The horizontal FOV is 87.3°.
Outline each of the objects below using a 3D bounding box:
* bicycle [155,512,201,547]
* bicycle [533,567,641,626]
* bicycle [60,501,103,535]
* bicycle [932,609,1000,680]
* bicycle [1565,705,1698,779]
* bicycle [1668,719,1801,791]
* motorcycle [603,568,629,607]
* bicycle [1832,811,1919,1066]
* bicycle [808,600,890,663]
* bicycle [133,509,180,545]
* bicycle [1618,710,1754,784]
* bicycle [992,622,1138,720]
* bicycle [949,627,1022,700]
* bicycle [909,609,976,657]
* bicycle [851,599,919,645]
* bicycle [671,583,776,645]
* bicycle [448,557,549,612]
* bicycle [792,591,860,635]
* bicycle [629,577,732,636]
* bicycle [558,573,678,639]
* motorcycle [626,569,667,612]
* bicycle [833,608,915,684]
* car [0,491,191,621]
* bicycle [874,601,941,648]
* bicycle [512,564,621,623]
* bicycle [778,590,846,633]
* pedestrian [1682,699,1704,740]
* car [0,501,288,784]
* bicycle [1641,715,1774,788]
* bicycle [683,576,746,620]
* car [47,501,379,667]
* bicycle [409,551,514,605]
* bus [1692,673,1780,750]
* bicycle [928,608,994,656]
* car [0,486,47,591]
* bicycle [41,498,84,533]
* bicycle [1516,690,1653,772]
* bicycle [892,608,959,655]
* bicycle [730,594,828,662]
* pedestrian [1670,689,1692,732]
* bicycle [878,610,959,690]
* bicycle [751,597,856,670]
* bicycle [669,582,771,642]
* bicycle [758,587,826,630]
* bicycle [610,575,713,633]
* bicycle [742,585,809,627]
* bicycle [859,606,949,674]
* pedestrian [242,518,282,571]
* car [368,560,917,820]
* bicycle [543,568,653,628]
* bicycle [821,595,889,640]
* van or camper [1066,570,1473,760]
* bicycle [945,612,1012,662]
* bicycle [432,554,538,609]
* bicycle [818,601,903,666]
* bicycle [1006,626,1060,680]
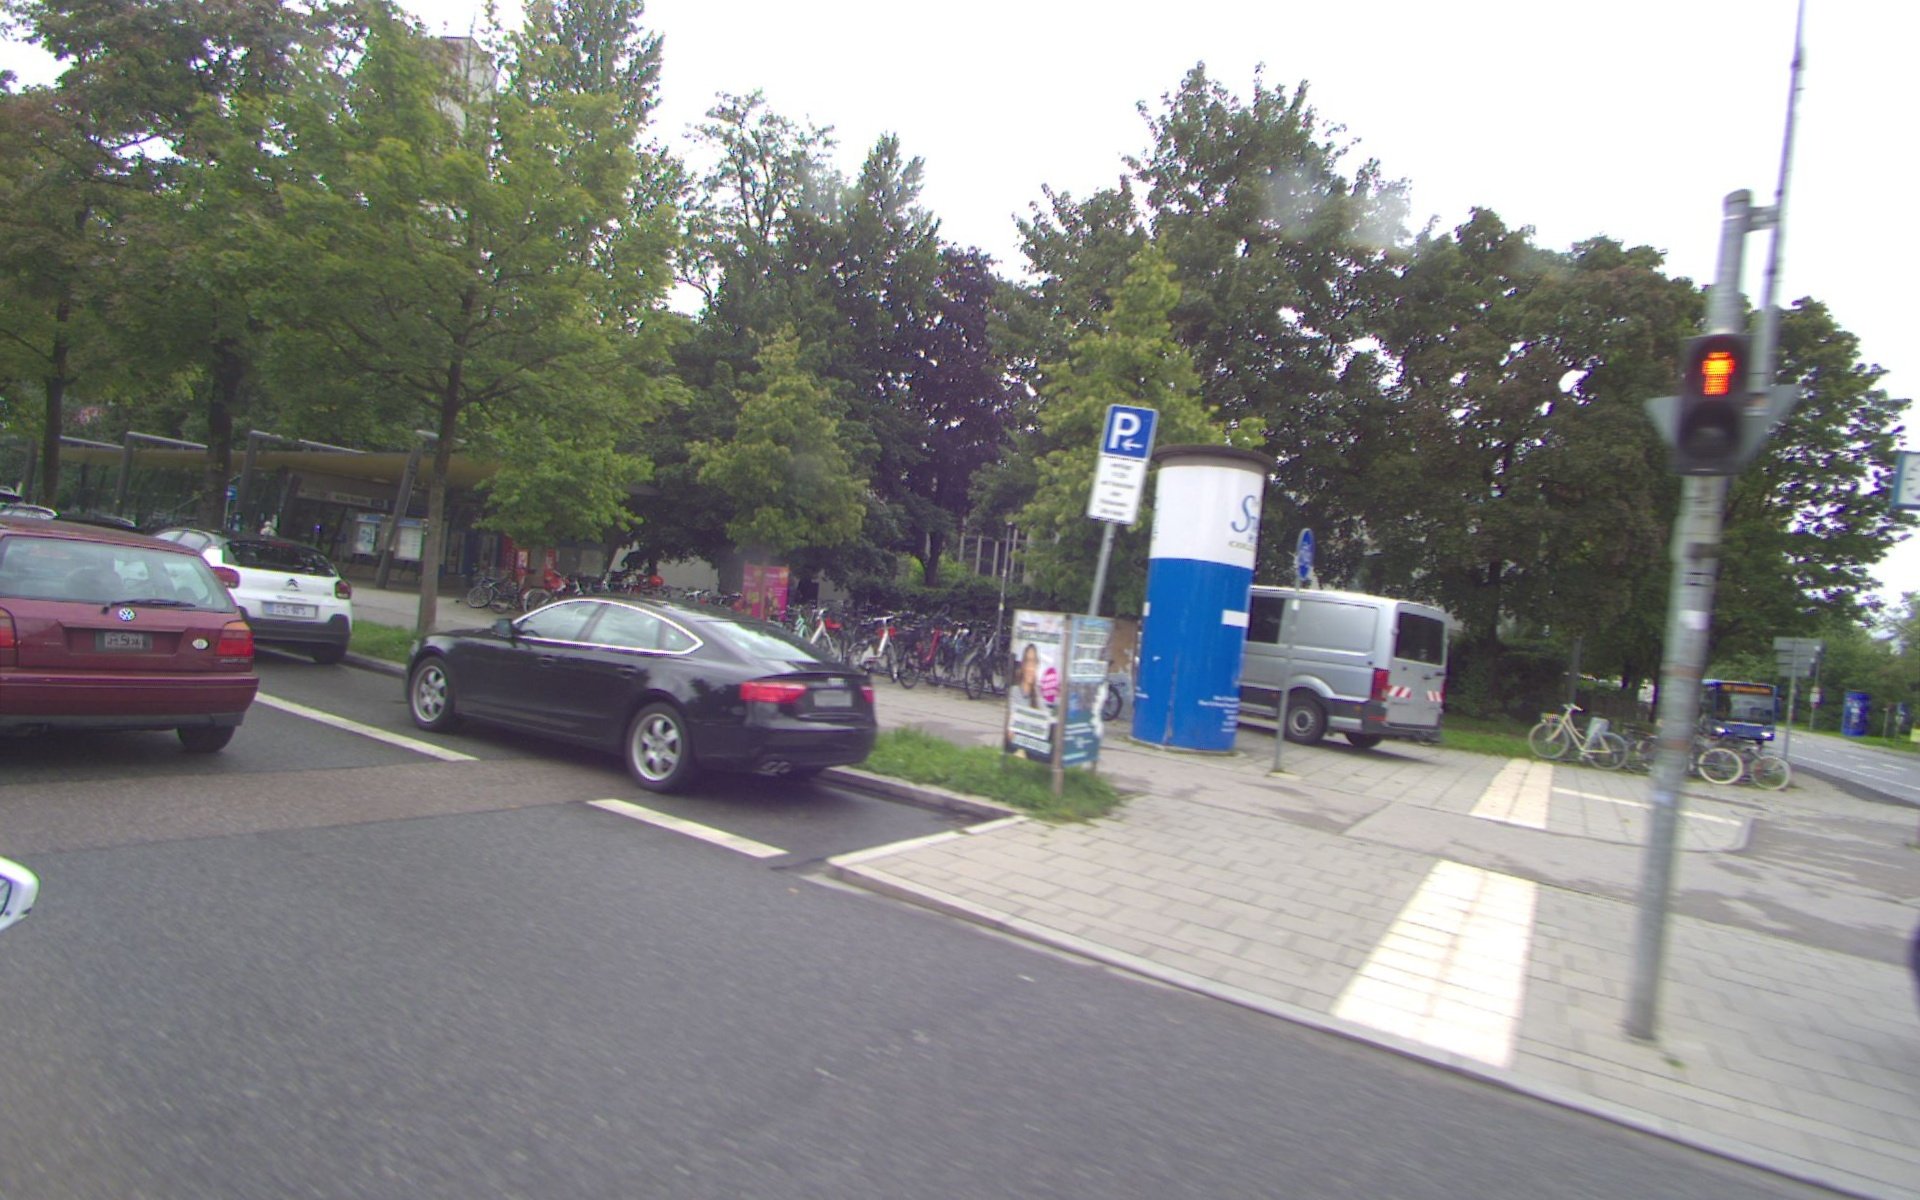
[{"bbox_3d":[-33.363,-3.016,42.912,2.508,1.296,0.646,6,1,32],"label":"bicycle"},{"bbox_3d":[-8.141,-0.055,22.087,0.520,1.173,2.339,7,2,31],"label":"bicycle"},{"bbox_3d":[-38.646,-3.613,44.255,2.508,1.296,0.646,6,1,32],"label":"bicycle"},{"bbox_3d":[0.139,0.828,19.062,0.557,1.228,1.944,6,1,20],"label":"bicycle"},{"bbox_3d":[13.495,2.827,20.264,2.084,1.108,0.607,7,0,40],"label":"bicycle"},{"bbox_3d":[16.155,3.200,21.024,2.084,1.108,0.607,7,0,40],"label":"bicycle"},{"bbox_3d":[-10.660,-0.403,31.151,0.649,1.075,1.805,6,0,-20],"label":"motorcycle"},{"bbox_3d":[4.872,1.641,4.109,0.734,1.094,1.946,6,0,-4],"label":"bicycle"},{"bbox_3d":[-2.198,0.635,20.164,0.558,1.157,1.807,7,1,32],"label":"bicycle"},{"bbox_3d":[-33.752,-3.058,42.251,2.508,1.296,0.646,6,1,32],"label":"bicycle"},{"bbox_3d":[14.681,2.951,20.387,2.085,1.108,0.607,7,0,41],"label":"bicycle"},{"bbox_3d":[1.591,1.062,15.427,1.969,1.214,0.861,7,2,36],"label":"bicycle"},{"bbox_3d":[0.447,1.014,16.592,0.557,1.085,1.811,6,1,20],"label":"bicycle"},{"bbox_3d":[-0.439,0.876,26.724,0.520,1.173,2.339,7,2,31],"label":"bicycle"},{"bbox_3d":[-2.041,0.617,27.843,0.520,1.173,2.339,7,2,31],"label":"bicycle"},{"bbox_3d":[-4.880,0.308,20.926,0.575,1.173,2.339,7,2,31],"label":"bicycle"},{"bbox_3d":[-10.752,-0.327,23.536,0.519,1.173,2.342,7,2,23],"label":"bicycle"},{"bbox_3d":[-3.856,0.401,29.181,0.520,1.173,2.339,7,2,31],"label":"bicycle"},{"bbox_3d":[-6.116,0.166,22.147,0.575,1.173,2.339,7,2,31],"label":"bicycle"},{"bbox_3d":[-6.709,0.142,19.870,0.575,1.173,2.339,7,2,31],"label":"bicycle"},{"bbox_3d":[-9.817,-0.296,31.449,0.652,1.192,1.798,6,0,-33],"label":"motorcycle"},{"bbox_3d":[-1.424,0.753,16.941,0.557,1.157,1.810,6,1,20],"label":"bicycle"},{"bbox_3d":[-13.676,-0.753,15.144,4.564,1.568,1.748,7,2,31],"label":"car"},{"bbox_3d":[-1.401,0.680,27.531,0.520,1.173,2.339,7,2,31],"label":"bicycle"},{"bbox_3d":[-8.659,-0.112,22.272,0.520,1.173,2.339,7,2,31],"label":"bicycle"},{"bbox_3d":[-4.315,0.350,29.544,0.520,1.173,2.339,7,2,31],"label":"bicycle"},{"bbox_3d":[34.408,5.604,47.247,0.599,1.849,0.704,7,1,42],"label":"pedestrian"},{"bbox_3d":[-6.400,0.084,6.700,3.884,1.472,1.624,7,0,31],"label":"car"},{"bbox_3d":[15.411,3.094,20.786,2.084,1.108,0.607,7,0,40],"label":"bicycle"},{"bbox_3d":[-8.061,-0.077,32.921,2.309,1.173,0.527,7,3,35],"label":"bicycle"},{"bbox_3d":[-9.412,-0.229,12.591,4.308,1.566,1.715,7,0,31],"label":"car"},{"bbox_3d":[-12.229,-0.514,24.751,0.520,1.173,2.339,7,2,31],"label":"bicycle"},{"bbox_3d":[40.936,5.797,53.400,2.690,3.322,11.859,7,0,34],"label":"bus"},{"bbox_3d":[0.056,0.842,26.405,0.520,1.173,2.339,7,2,31],"label":"bicycle"},{"bbox_3d":[-18.602,-1.340,18.195,4.825,1.745,1.750,7,-1,32],"label":"car"},{"bbox_3d":[-38.975,-3.674,43.665,2.508,1.296,0.646,6,1,32],"label":"bicycle"},{"bbox_3d":[12.200,2.545,19.709,2.074,1.266,0.703,7,1,5],"label":"bicycle"},{"bbox_3d":[-0.899,0.842,27.076,0.520,1.173,2.339,7,2,31],"label":"bicycle"},{"bbox_3d":[-3.307,0.540,18.532,0.559,1.157,1.804,7,2,37],"label":"bicycle"},{"bbox_3d":[32.489,4.985,45.339,0.599,1.849,0.704,7,1,40],"label":"pedestrian"},{"bbox_3d":[-0.669,0.818,17.090,0.557,1.228,1.944,6,1,20],"label":"bicycle"},{"bbox_3d":[-2.708,0.601,17.593,0.559,1.157,1.803,7,2,40],"label":"bicycle"},{"bbox_3d":[-5.141,0.278,21.724,0.575,1.173,2.339,7,2,31],"label":"bicycle"},{"bbox_3d":[-5.020,0.278,30.278,0.520,1.173,2.339,7,2,31],"label":"bicycle"},{"bbox_3d":[-6.626,0.118,22.459,0.575,1.173,2.339,7,2,31],"label":"bicycle"},{"bbox_3d":[-5.575,0.212,30.563,0.520,1.173,2.339,7,2,31],"label":"bicycle"},{"bbox_3d":[-1.016,0.760,18.817,0.559,1.157,1.804,7,2,37],"label":"bicycle"},{"bbox_3d":[-21.518,-1.710,31.036,0.681,1.532,0.580,7,0,13],"label":"pedestrian"},{"bbox_3d":[-2.794,0.623,8.522,4.543,1.376,1.714,7,-1,30],"label":"car"},{"bbox_3d":[-7.757,-0.011,21.680,0.520,1.173,2.339,7,2,31],"label":"bicycle"},{"bbox_3d":[-2.929,0.501,28.370,0.520,1.173,2.339,7,2,31],"label":"bicycle"},{"bbox_3d":[4.842,0.926,16.818,2.133,2.325,6.129,6,0,-40],"label":"van or camper"},{"bbox_3d":[0.505,0.956,26.039,0.520,1.173,2.339,7,2,31],"label":"bicycle"},{"bbox_3d":[-11.385,-0.415,24.214,0.520,1.173,2.339,7,2,31],"label":"bicycle"},{"bbox_3d":[-1.902,0.661,19.466,0.558,1.157,1.807,7,1,32],"label":"bicycle"},{"bbox_3d":[1.823,1.313,25.506,0.706,1.168,2.124,6,0,-11],"label":"bicycle"}]
